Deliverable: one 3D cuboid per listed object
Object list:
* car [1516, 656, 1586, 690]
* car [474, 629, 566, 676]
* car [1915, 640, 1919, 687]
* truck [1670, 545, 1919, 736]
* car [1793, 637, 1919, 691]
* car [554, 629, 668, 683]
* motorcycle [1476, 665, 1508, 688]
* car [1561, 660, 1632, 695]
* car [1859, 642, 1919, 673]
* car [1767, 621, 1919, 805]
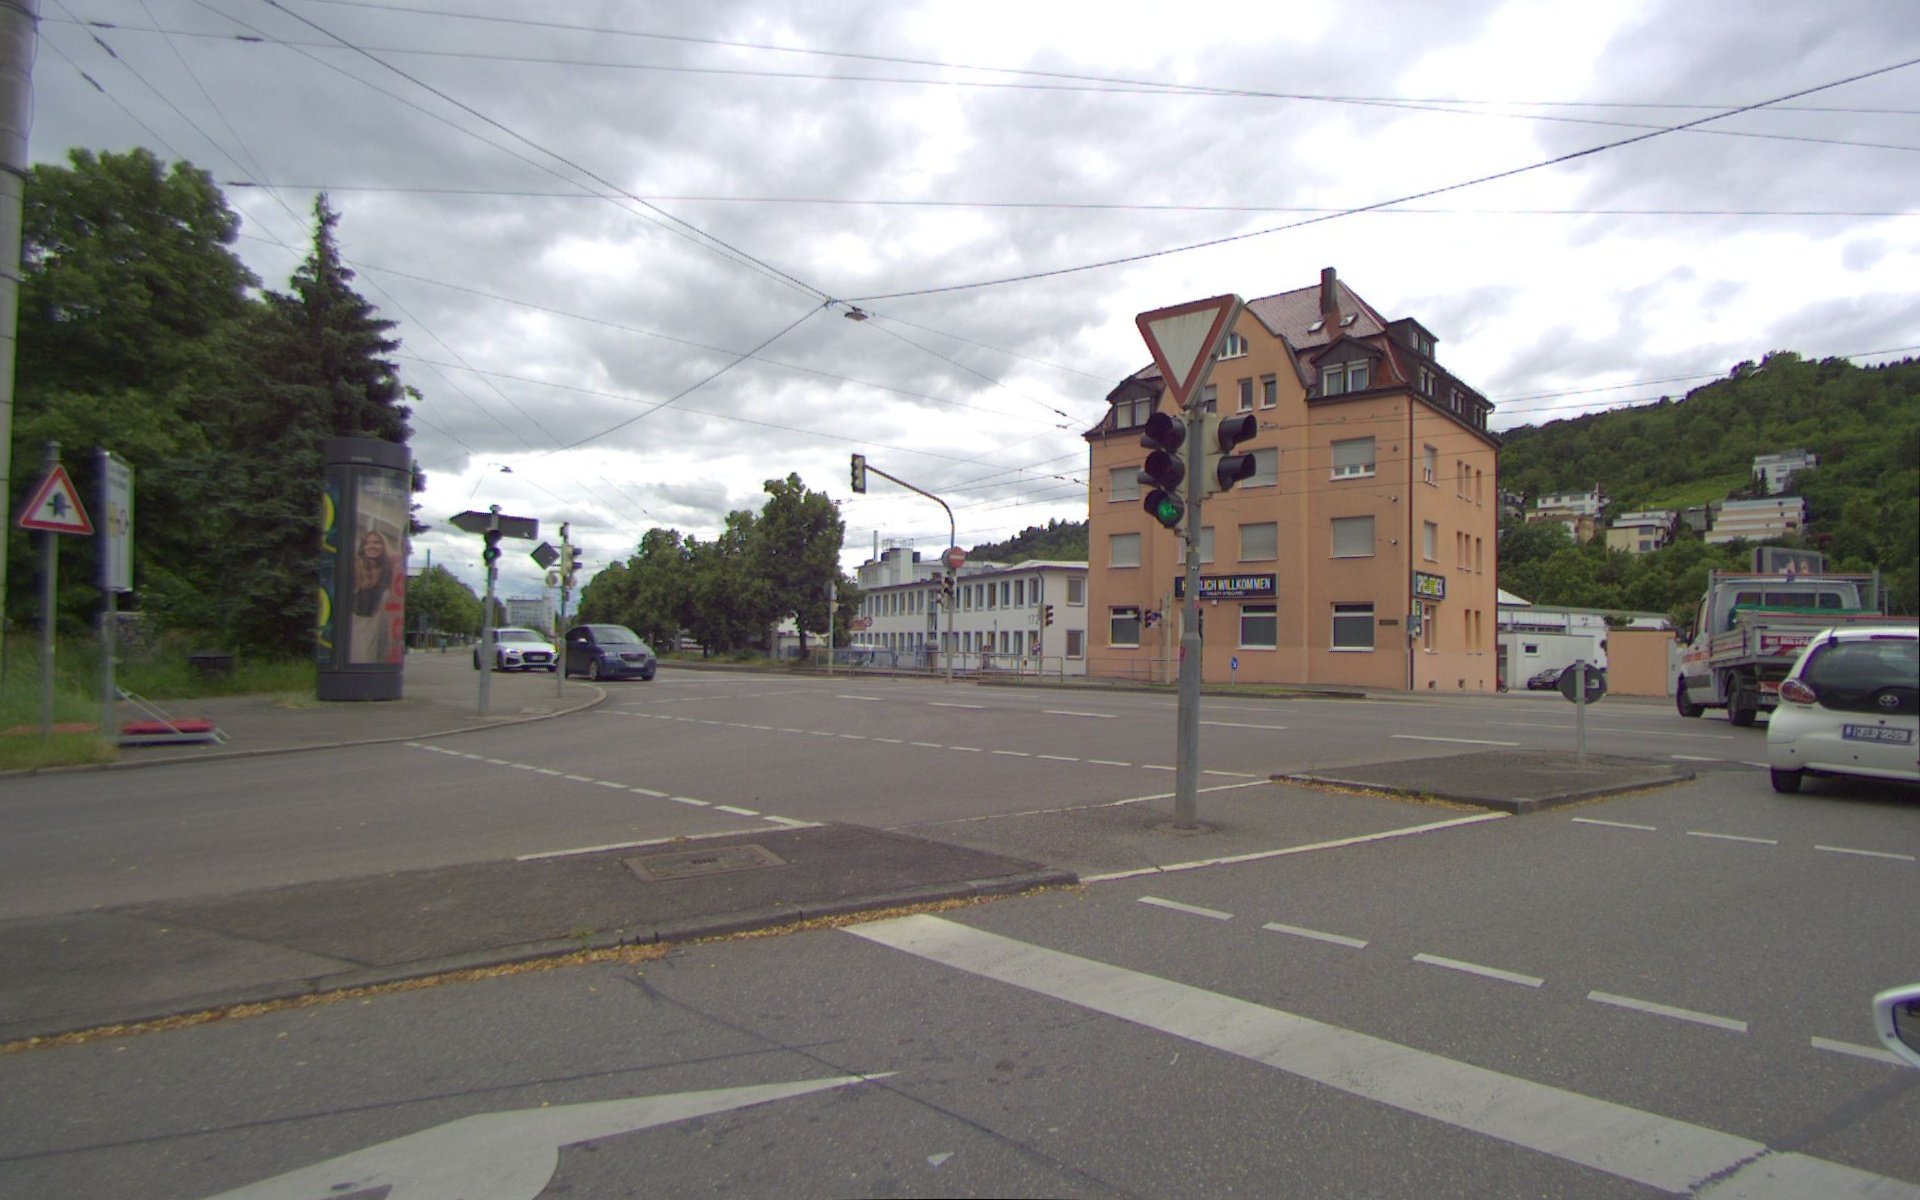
[{"bbox_3d":[37.265,4.623,63.299,4.463,1.863,1.982,4,0,-33],"label":"car"},{"bbox_3d":[-14.547,1.688,33.103,1.735,1.445,4.119,2,-3,-39],"label":"car"},{"bbox_3d":[41.251,2.738,41.499,4.870,1.877,2.058,4,0,-40],"label":"car"},{"bbox_3d":[13.010,0.617,15.744,2.278,2.453,5.648,1,-2,27],"label":"truck"},{"bbox_3d":[44.870,3.160,50.469,4.437,2.272,1.993,4,0,36],"label":"car"},{"bbox_3d":[-9.736,1.512,27.864,1.736,1.410,3.659,2,-3,-41],"label":"car"},{"bbox_3d":[26.211,3.756,49.505,0.519,0.997,1.708,4,0,-4],"label":"motorcycle"},{"bbox_3d":[38.847,4.719,61.307,4.465,1.863,1.981,4,0,-34],"label":"car"},{"bbox_3d":[71.296,4.398,76.000,1.981,2.023,4.464,4,0,-36],"label":"car"},{"bbox_3d":[8.690,0.920,9.090,3.347,1.439,1.580,1,-2,-41],"label":"car"}]
